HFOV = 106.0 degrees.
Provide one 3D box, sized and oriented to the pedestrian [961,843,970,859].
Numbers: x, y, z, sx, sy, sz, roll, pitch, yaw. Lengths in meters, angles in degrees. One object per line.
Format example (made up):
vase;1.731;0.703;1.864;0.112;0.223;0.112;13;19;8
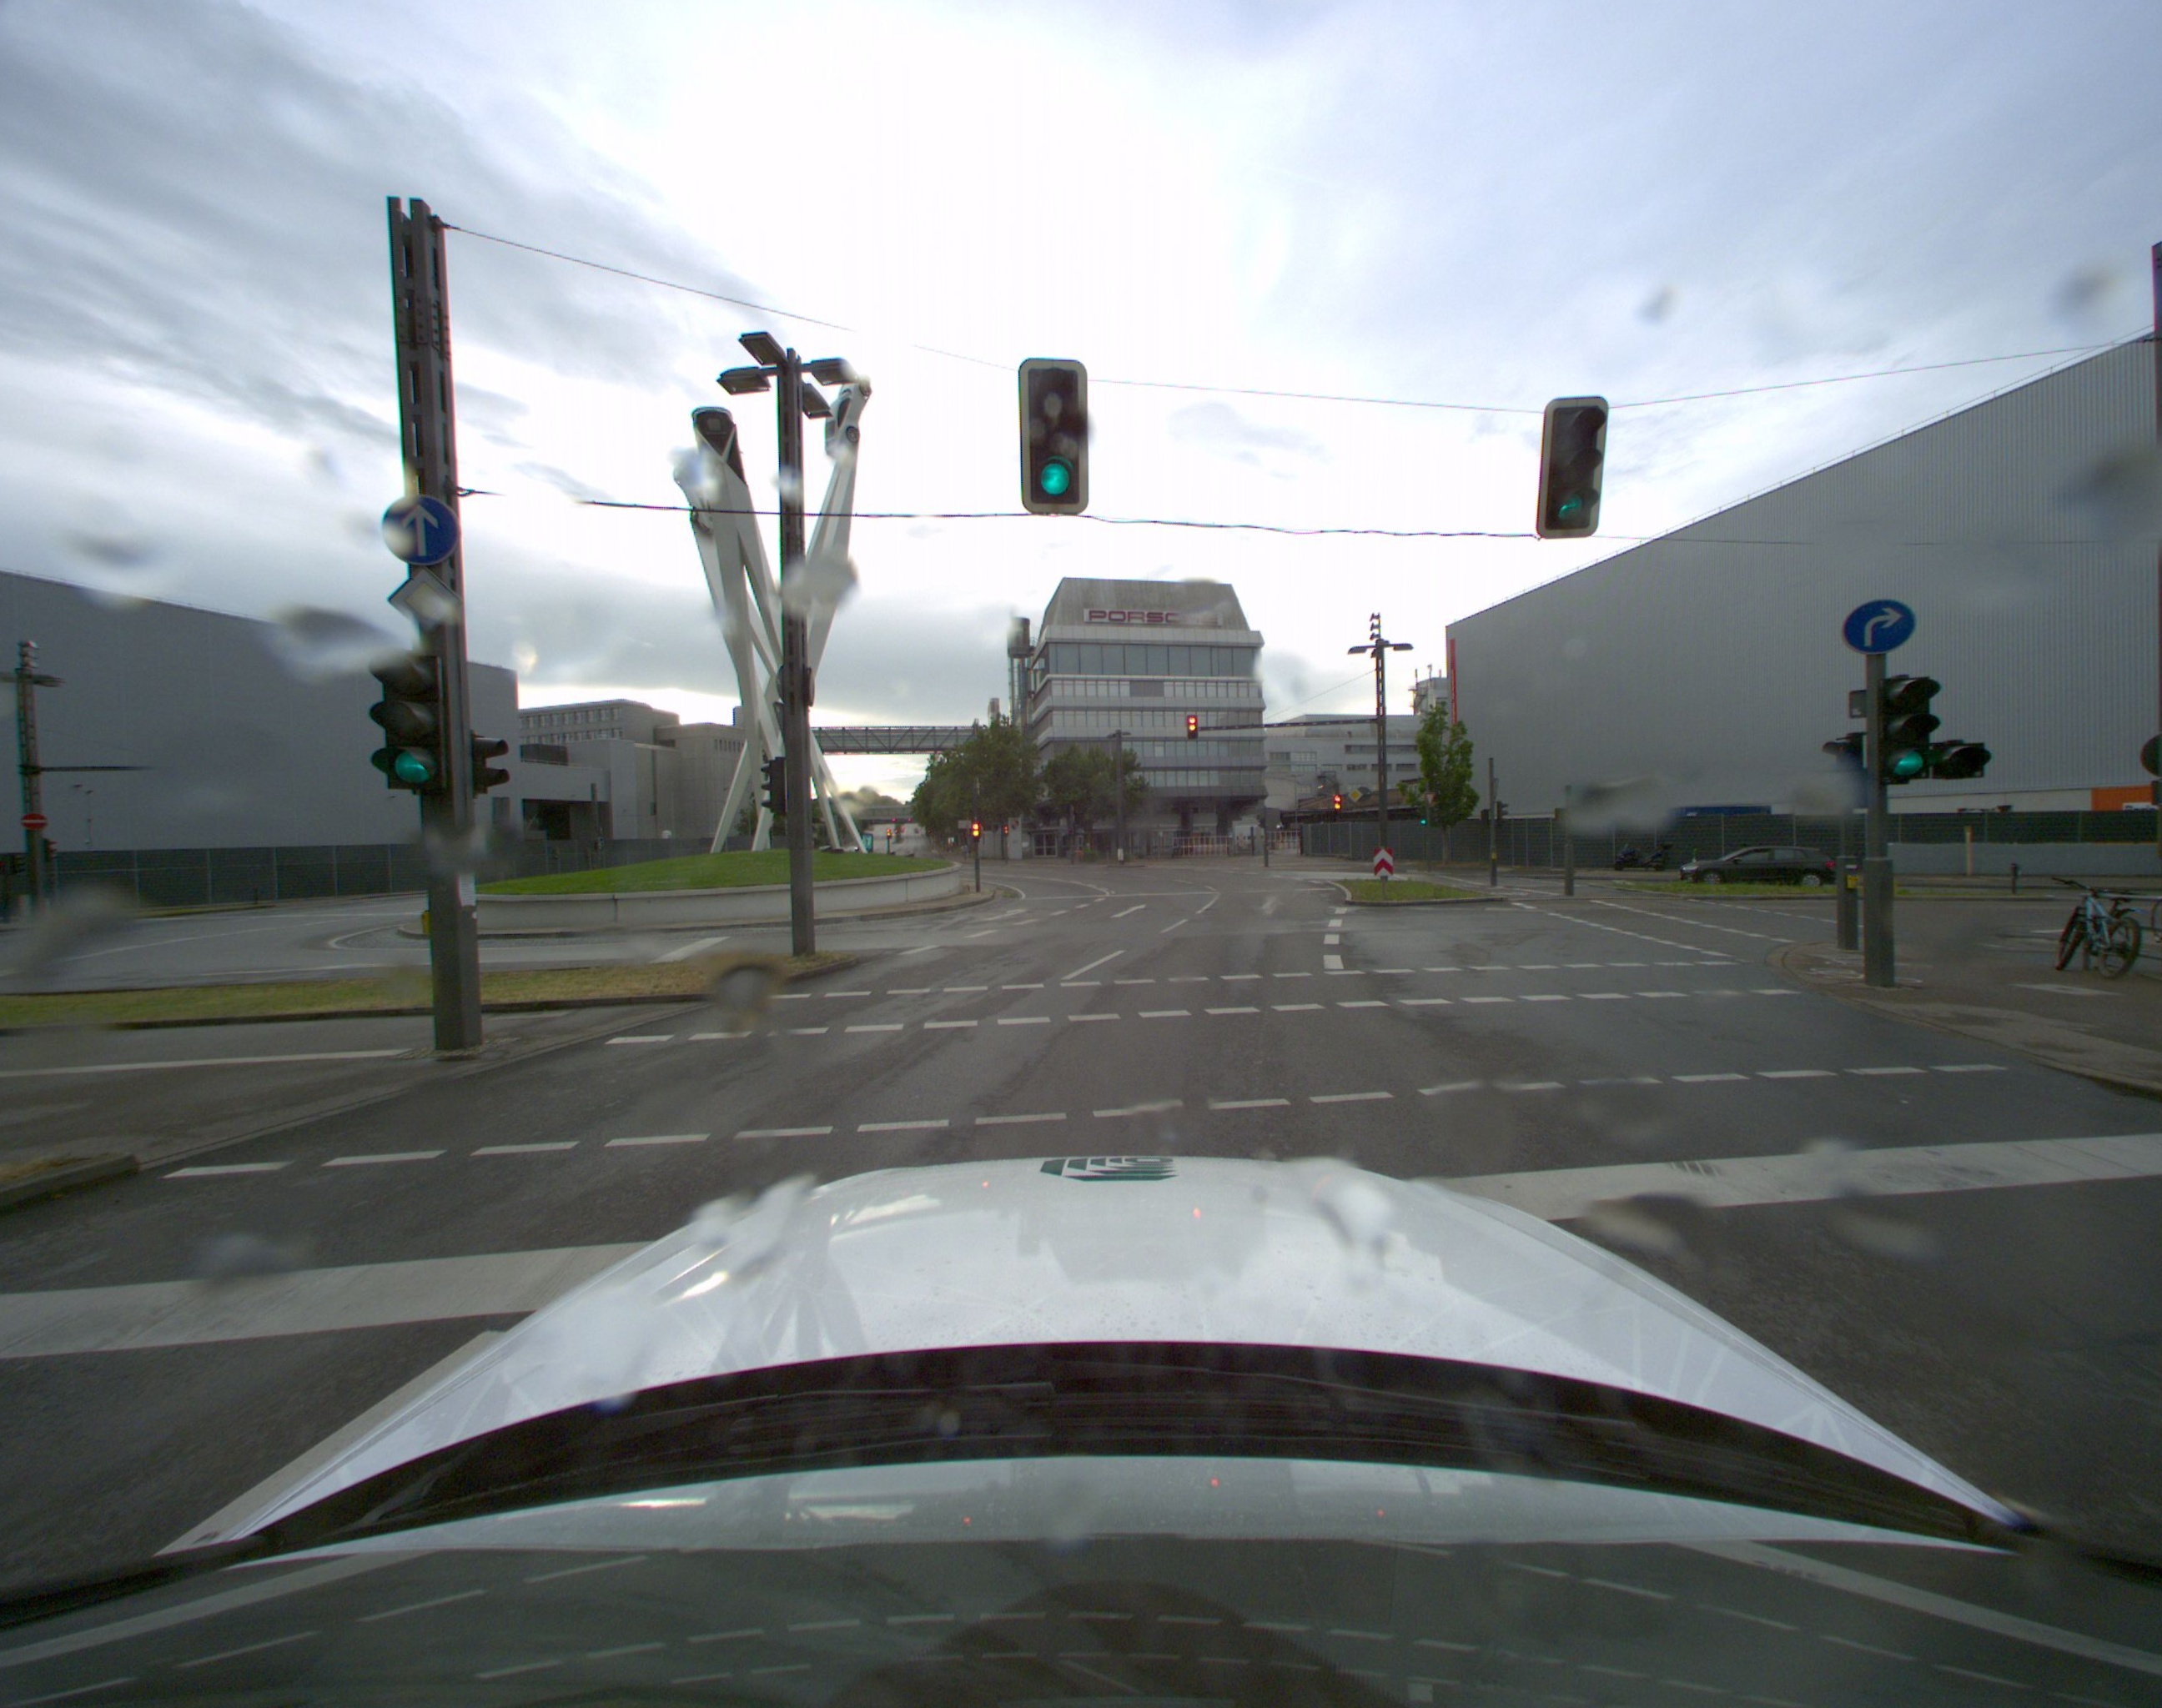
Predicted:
pedestrian;-11.401;-0.263;80.383;0.830;1.520;0.841;-2;1;-4

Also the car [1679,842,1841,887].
car;22.634;0.331;27.348;3.949;1.425;1.731;0;1;30

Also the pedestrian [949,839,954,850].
pedestrian;-20.794;-1.463;130.533;0.757;1.740;0.712;0;-1;-8

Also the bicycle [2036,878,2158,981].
bicycle;12.503;0.872;10.082;0.416;1.130;2.086;-1;-2;37

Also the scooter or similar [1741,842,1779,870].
scooter or similar;28.996;0.077;34.786;1.254;1.199;0.428;1;2;42

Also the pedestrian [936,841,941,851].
pedestrian;-29.112;-1.567;166.062;0.761;2.013;0.693;-1;0;5

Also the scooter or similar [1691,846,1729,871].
scooter or similar;27.396;0.193;35.501;0.387;1.029;1.258;-1;1;-29

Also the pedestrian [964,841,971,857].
pedestrian;-11.392;-0.511;81.798;0.708;1.592;0.838;-2;1;-7

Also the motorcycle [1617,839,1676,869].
motorcycle;25.368;0.007;36.570;2.074;1.310;0.659;0;1;27

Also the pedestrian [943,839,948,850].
pedestrian;-21.446;-1.454;129.221;0.712;1.740;0.757;0;-1;-12

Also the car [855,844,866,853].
car;-38.968;-1.037;143.979;1.786;1.440;4.373;-2;2;-15
